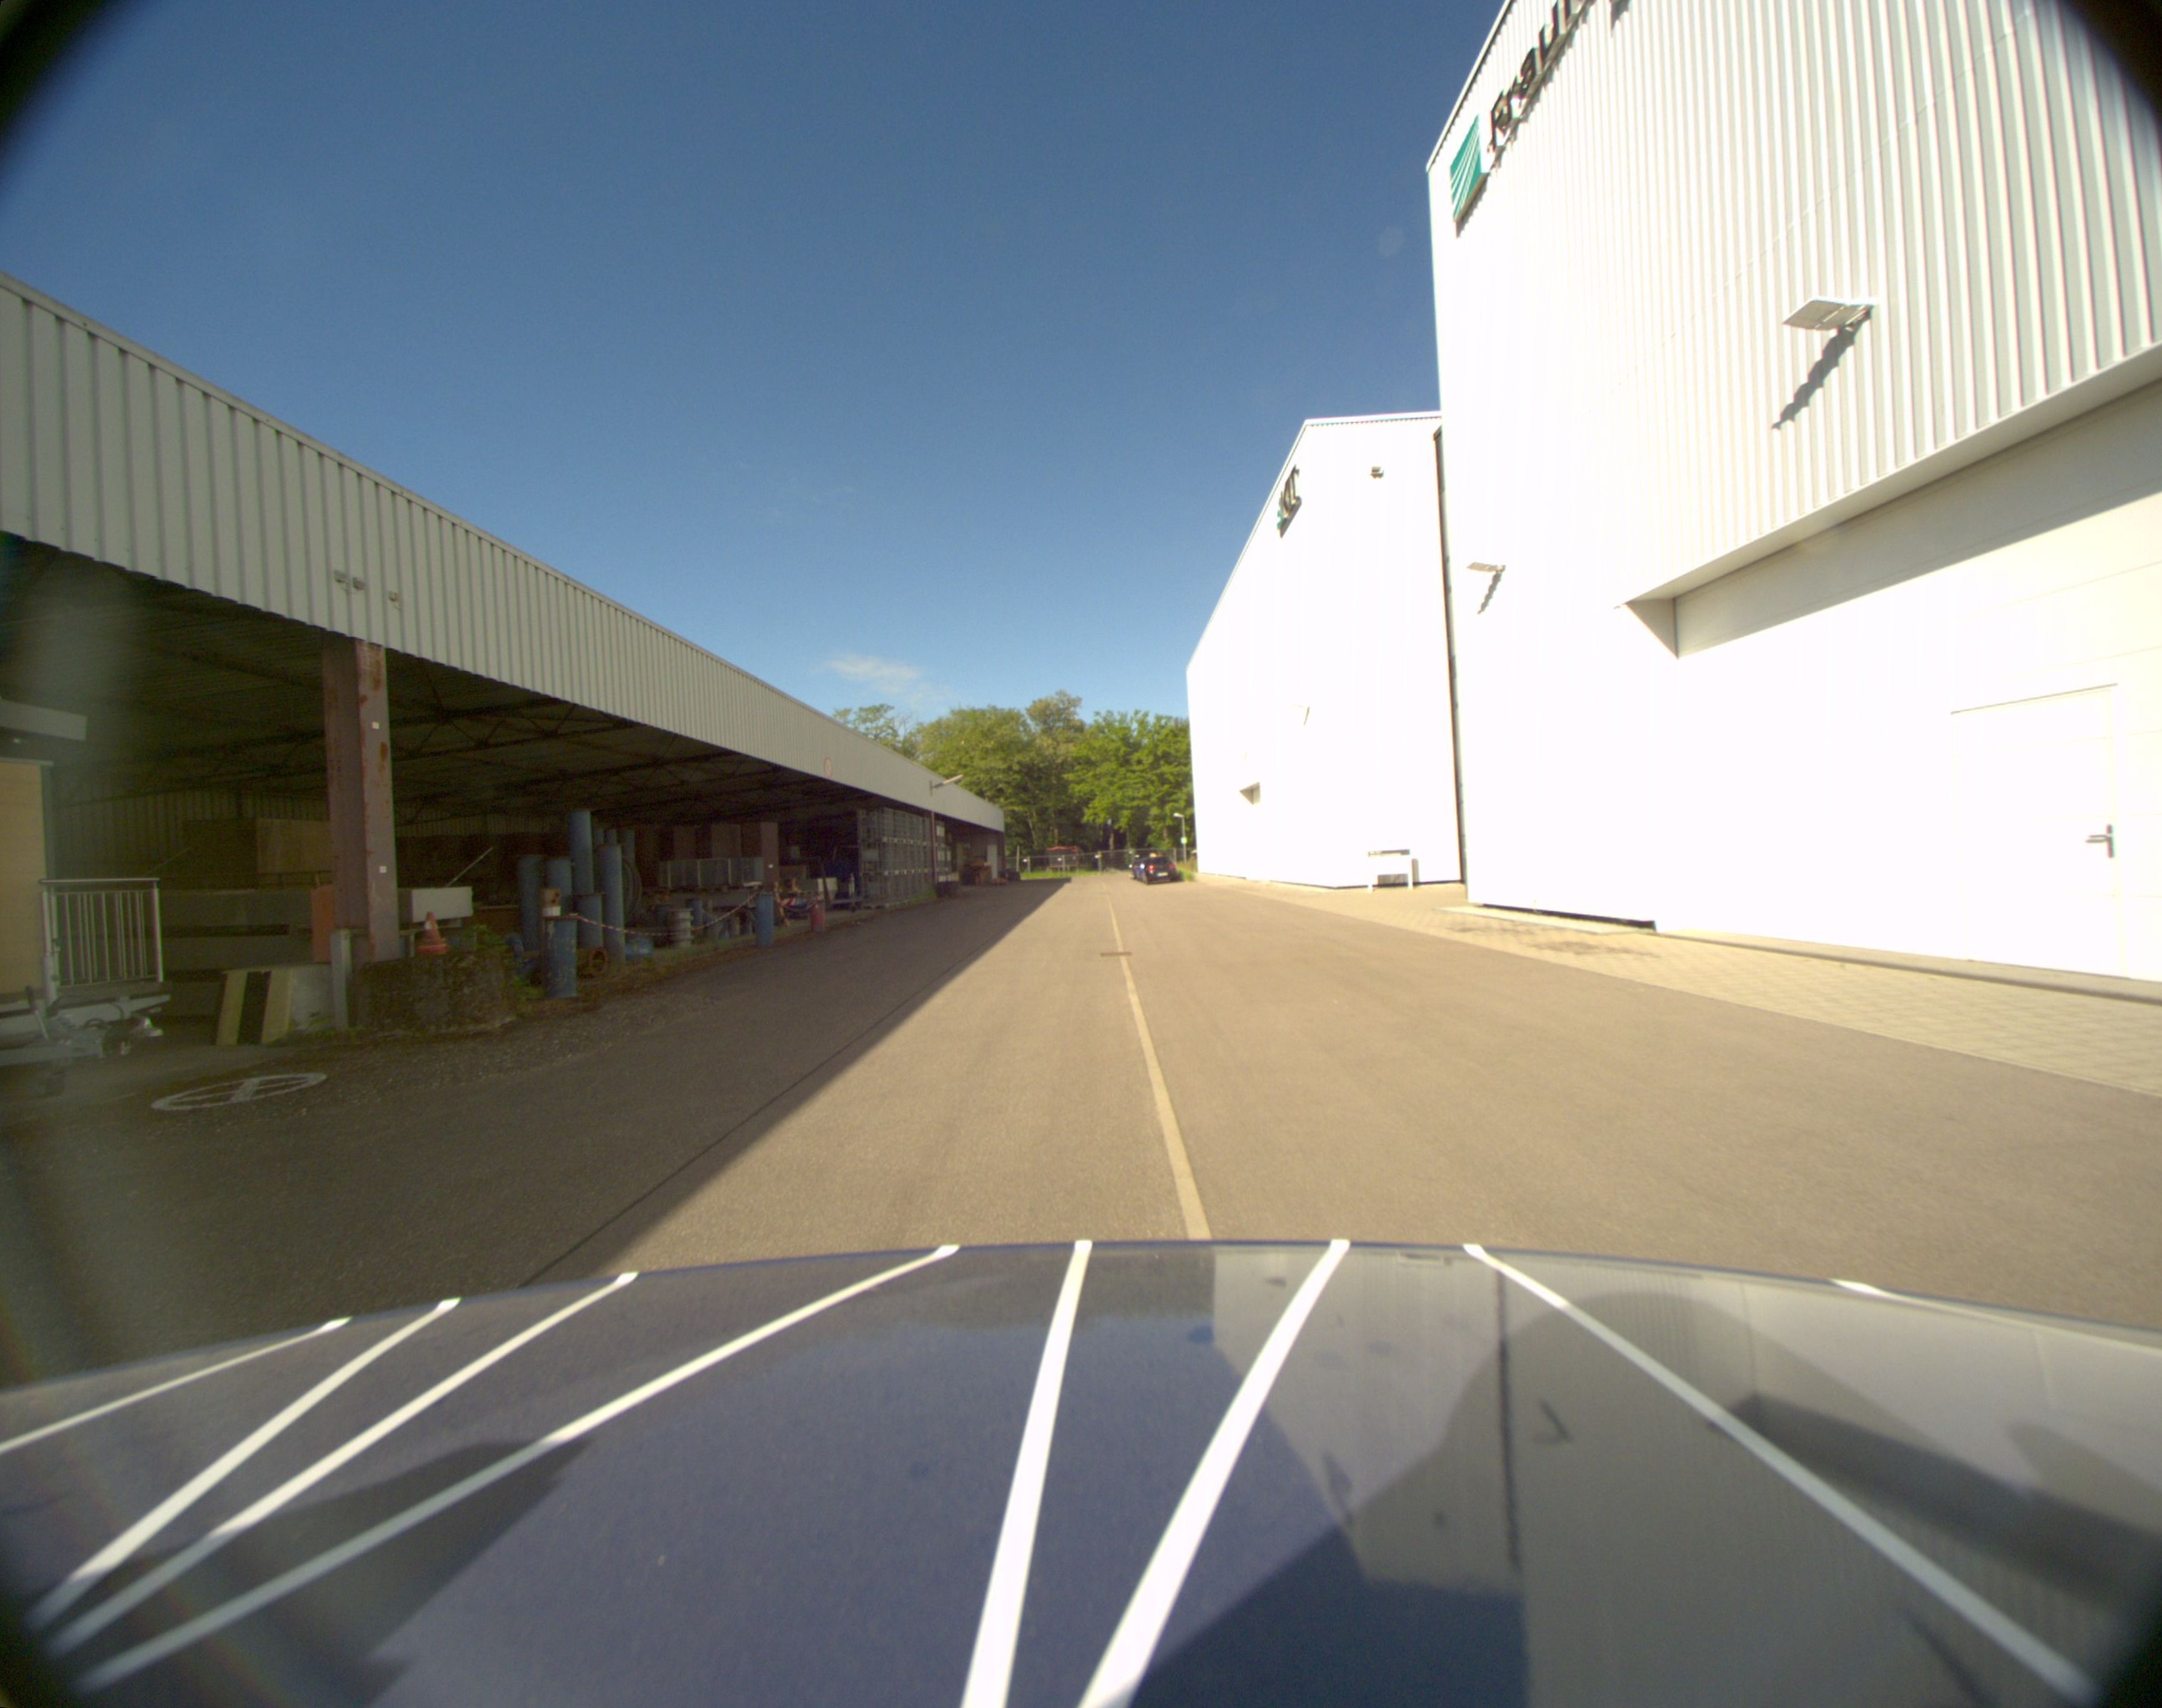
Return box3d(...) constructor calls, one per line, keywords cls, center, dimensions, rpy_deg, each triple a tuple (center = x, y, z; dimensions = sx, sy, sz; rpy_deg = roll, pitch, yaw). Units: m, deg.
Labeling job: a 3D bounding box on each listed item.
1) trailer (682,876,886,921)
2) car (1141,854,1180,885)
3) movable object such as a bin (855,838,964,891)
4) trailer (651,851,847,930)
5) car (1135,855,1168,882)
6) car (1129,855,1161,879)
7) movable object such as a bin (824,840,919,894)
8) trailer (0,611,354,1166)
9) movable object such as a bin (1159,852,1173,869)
box3d(cls="trailer", center=(-9.448, 1.404, 24.519), dimensions=(5.742, 1.178, 1.974), rpy_deg=(-1, 1, 0))
box3d(cls="car", center=(4.320, 0.830, 41.855), dimensions=(1.760, 1.437, 4.315), rpy_deg=(-5, -1, 2))
box3d(cls="movable object such as a bin", center=(-10.332, 0.645, 46.163), dimensions=(5.848, 2.908, 2.821), rpy_deg=(-2, 0, 2))
box3d(cls="trailer", center=(-9.122, 0.968, 21.169), dimensions=(4.433, 1.979, 2.163), rpy_deg=(-1, 1, 3))
box3d(cls="car", center=(4.287, 0.879, 46.602), dimensions=(1.551, 1.479, 3.522), rpy_deg=(-5, -1, 0))
box3d(cls="car", center=(4.349, 0.894, 52.113), dimensions=(1.715, 1.440, 3.798), rpy_deg=(-5, -1, 0))
box3d(cls="movable object such as a bin", center=(-11.750, 0.735, 42.918), dimensions=(4.537, 2.814, 2.497), rpy_deg=(-2, 0, 2))
box3d(cls="trailer", center=(-11.595, 0.330, 5.382), dimensions=(10.293, 3.323, 2.801), rpy_deg=(-1, 0, 2))
box3d(cls="movable object such as a bin", center=(7.568, 0.569, 67.801), dimensions=(1.140, 1.426, 1.289), rpy_deg=(-1, 0, 2))
